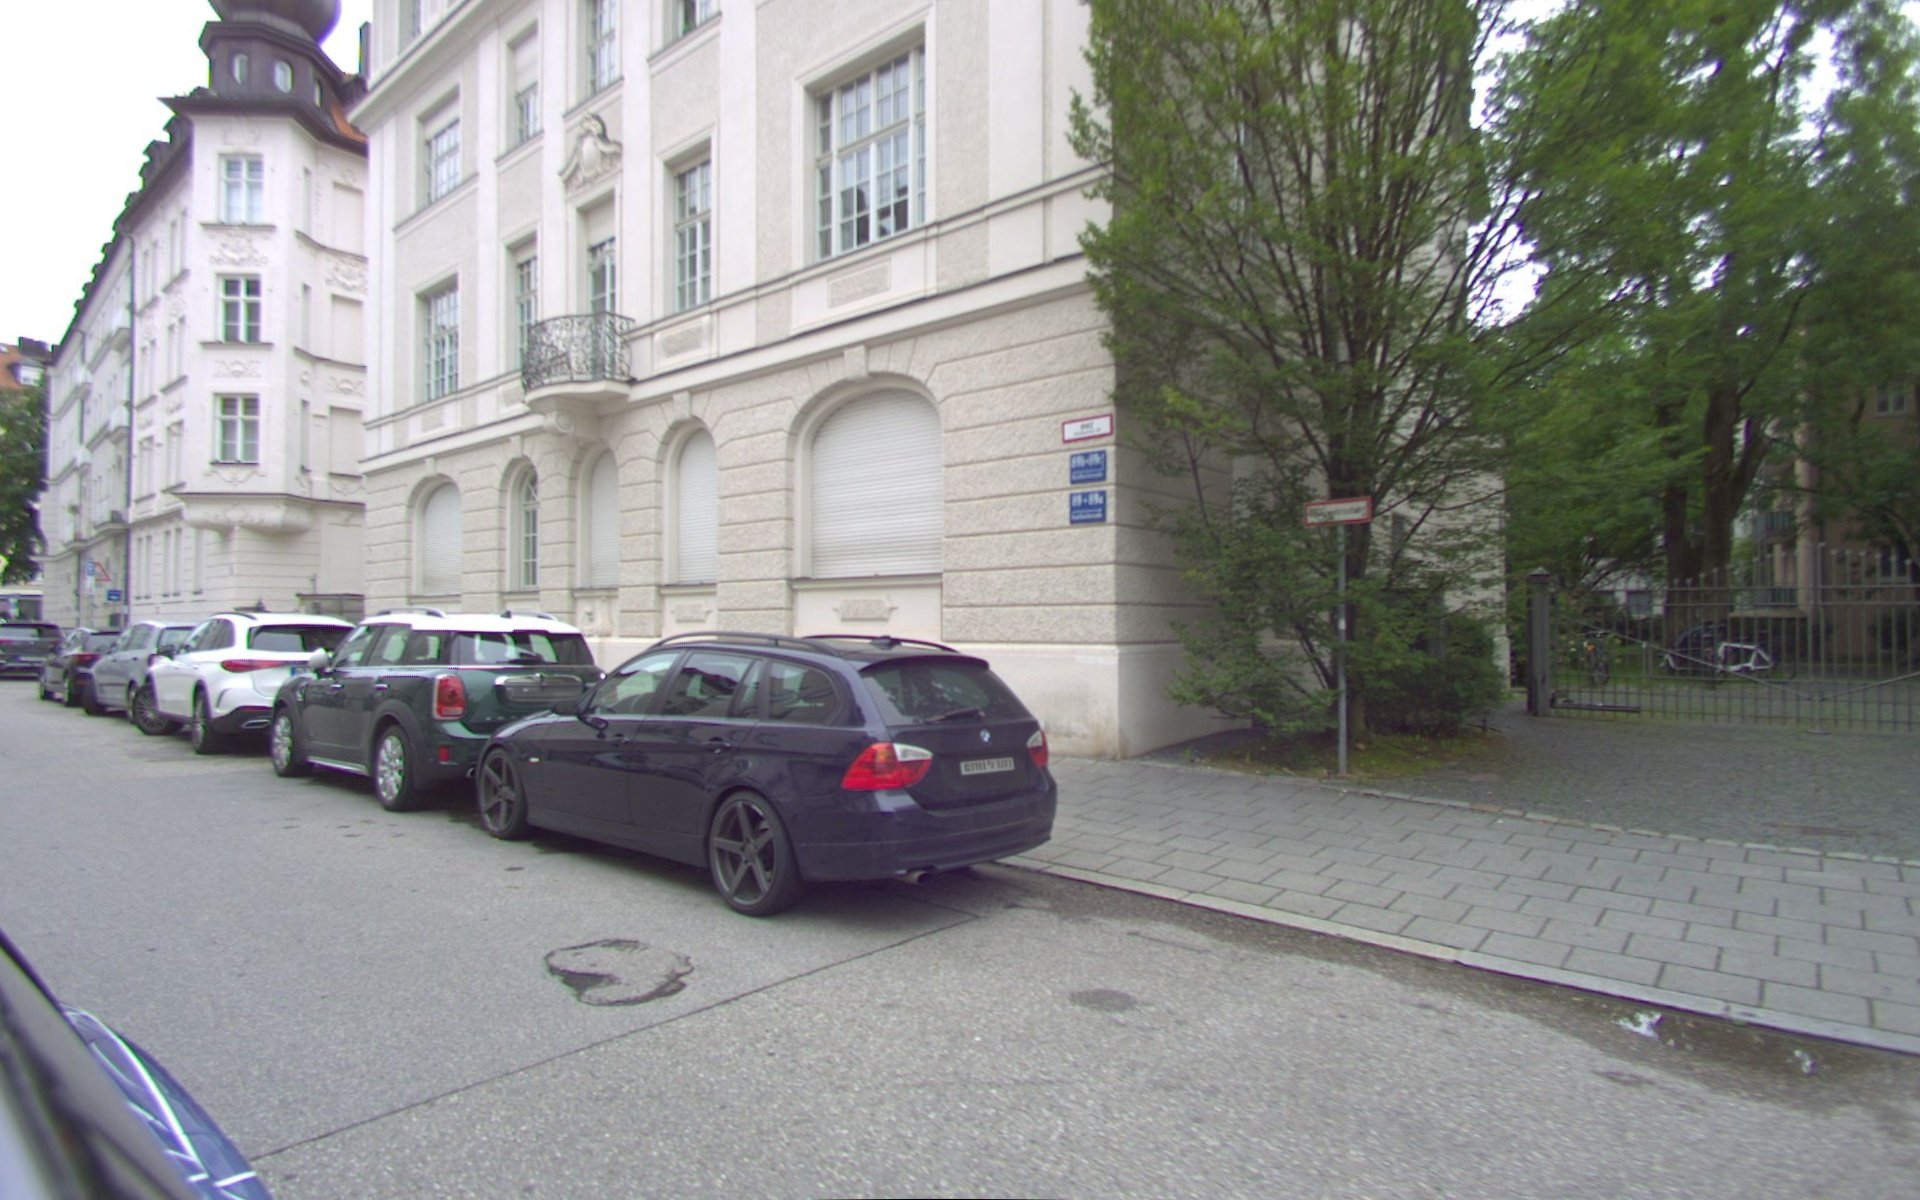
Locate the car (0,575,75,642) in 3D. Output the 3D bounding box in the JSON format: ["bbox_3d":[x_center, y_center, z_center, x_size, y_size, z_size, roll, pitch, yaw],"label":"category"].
[{"bbox_3d":[-25.041,0.239,26.777,4.117,1.631,1.709,-1,-4,39],"label":"car"}]

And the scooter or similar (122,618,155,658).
[{"bbox_3d":[-25.533,1.164,31.457,1.547,1.209,0.526,-1,-2,42],"label":"scooter or similar"}]

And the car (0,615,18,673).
[{"bbox_3d":[-33.665,1.457,34.376,4.760,1.909,1.817,-1,-4,41],"label":"car"}]

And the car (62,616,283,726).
[{"bbox_3d":[-12.884,1.085,16.476,4.251,1.553,1.766,-1,-4,38],"label":"car"}]

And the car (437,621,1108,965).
[{"bbox_3d":[-1.409,0.858,6.310,4.364,1.423,1.769,-1,-2,40],"label":"car"}]

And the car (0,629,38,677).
[{"bbox_3d":[-29.566,1.575,30.740,4.243,1.405,1.817,-1,-4,42],"label":"car"}]

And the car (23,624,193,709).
[{"bbox_3d":[-16.468,1.234,19.503,4.276,1.426,1.774,-1,-4,41],"label":"car"}]

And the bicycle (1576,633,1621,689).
[{"bbox_3d":[11.883,1.114,18.822,0.475,1.000,1.420,-1,-2,42],"label":"bicycle"}]

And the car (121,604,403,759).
[{"bbox_3d":[-9.006,0.923,12.902,4.569,1.631,1.895,-1,-2,41],"label":"car"}]

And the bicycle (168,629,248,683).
[{"bbox_3d":[-20.003,1.447,26.882,2.715,1.251,1.140,-1,2,42],"label":"bicycle"}]

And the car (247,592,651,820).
[{"bbox_3d":[-4.842,0.817,9.339,4.241,1.631,1.817,-1,-2,40],"label":"car"}]
